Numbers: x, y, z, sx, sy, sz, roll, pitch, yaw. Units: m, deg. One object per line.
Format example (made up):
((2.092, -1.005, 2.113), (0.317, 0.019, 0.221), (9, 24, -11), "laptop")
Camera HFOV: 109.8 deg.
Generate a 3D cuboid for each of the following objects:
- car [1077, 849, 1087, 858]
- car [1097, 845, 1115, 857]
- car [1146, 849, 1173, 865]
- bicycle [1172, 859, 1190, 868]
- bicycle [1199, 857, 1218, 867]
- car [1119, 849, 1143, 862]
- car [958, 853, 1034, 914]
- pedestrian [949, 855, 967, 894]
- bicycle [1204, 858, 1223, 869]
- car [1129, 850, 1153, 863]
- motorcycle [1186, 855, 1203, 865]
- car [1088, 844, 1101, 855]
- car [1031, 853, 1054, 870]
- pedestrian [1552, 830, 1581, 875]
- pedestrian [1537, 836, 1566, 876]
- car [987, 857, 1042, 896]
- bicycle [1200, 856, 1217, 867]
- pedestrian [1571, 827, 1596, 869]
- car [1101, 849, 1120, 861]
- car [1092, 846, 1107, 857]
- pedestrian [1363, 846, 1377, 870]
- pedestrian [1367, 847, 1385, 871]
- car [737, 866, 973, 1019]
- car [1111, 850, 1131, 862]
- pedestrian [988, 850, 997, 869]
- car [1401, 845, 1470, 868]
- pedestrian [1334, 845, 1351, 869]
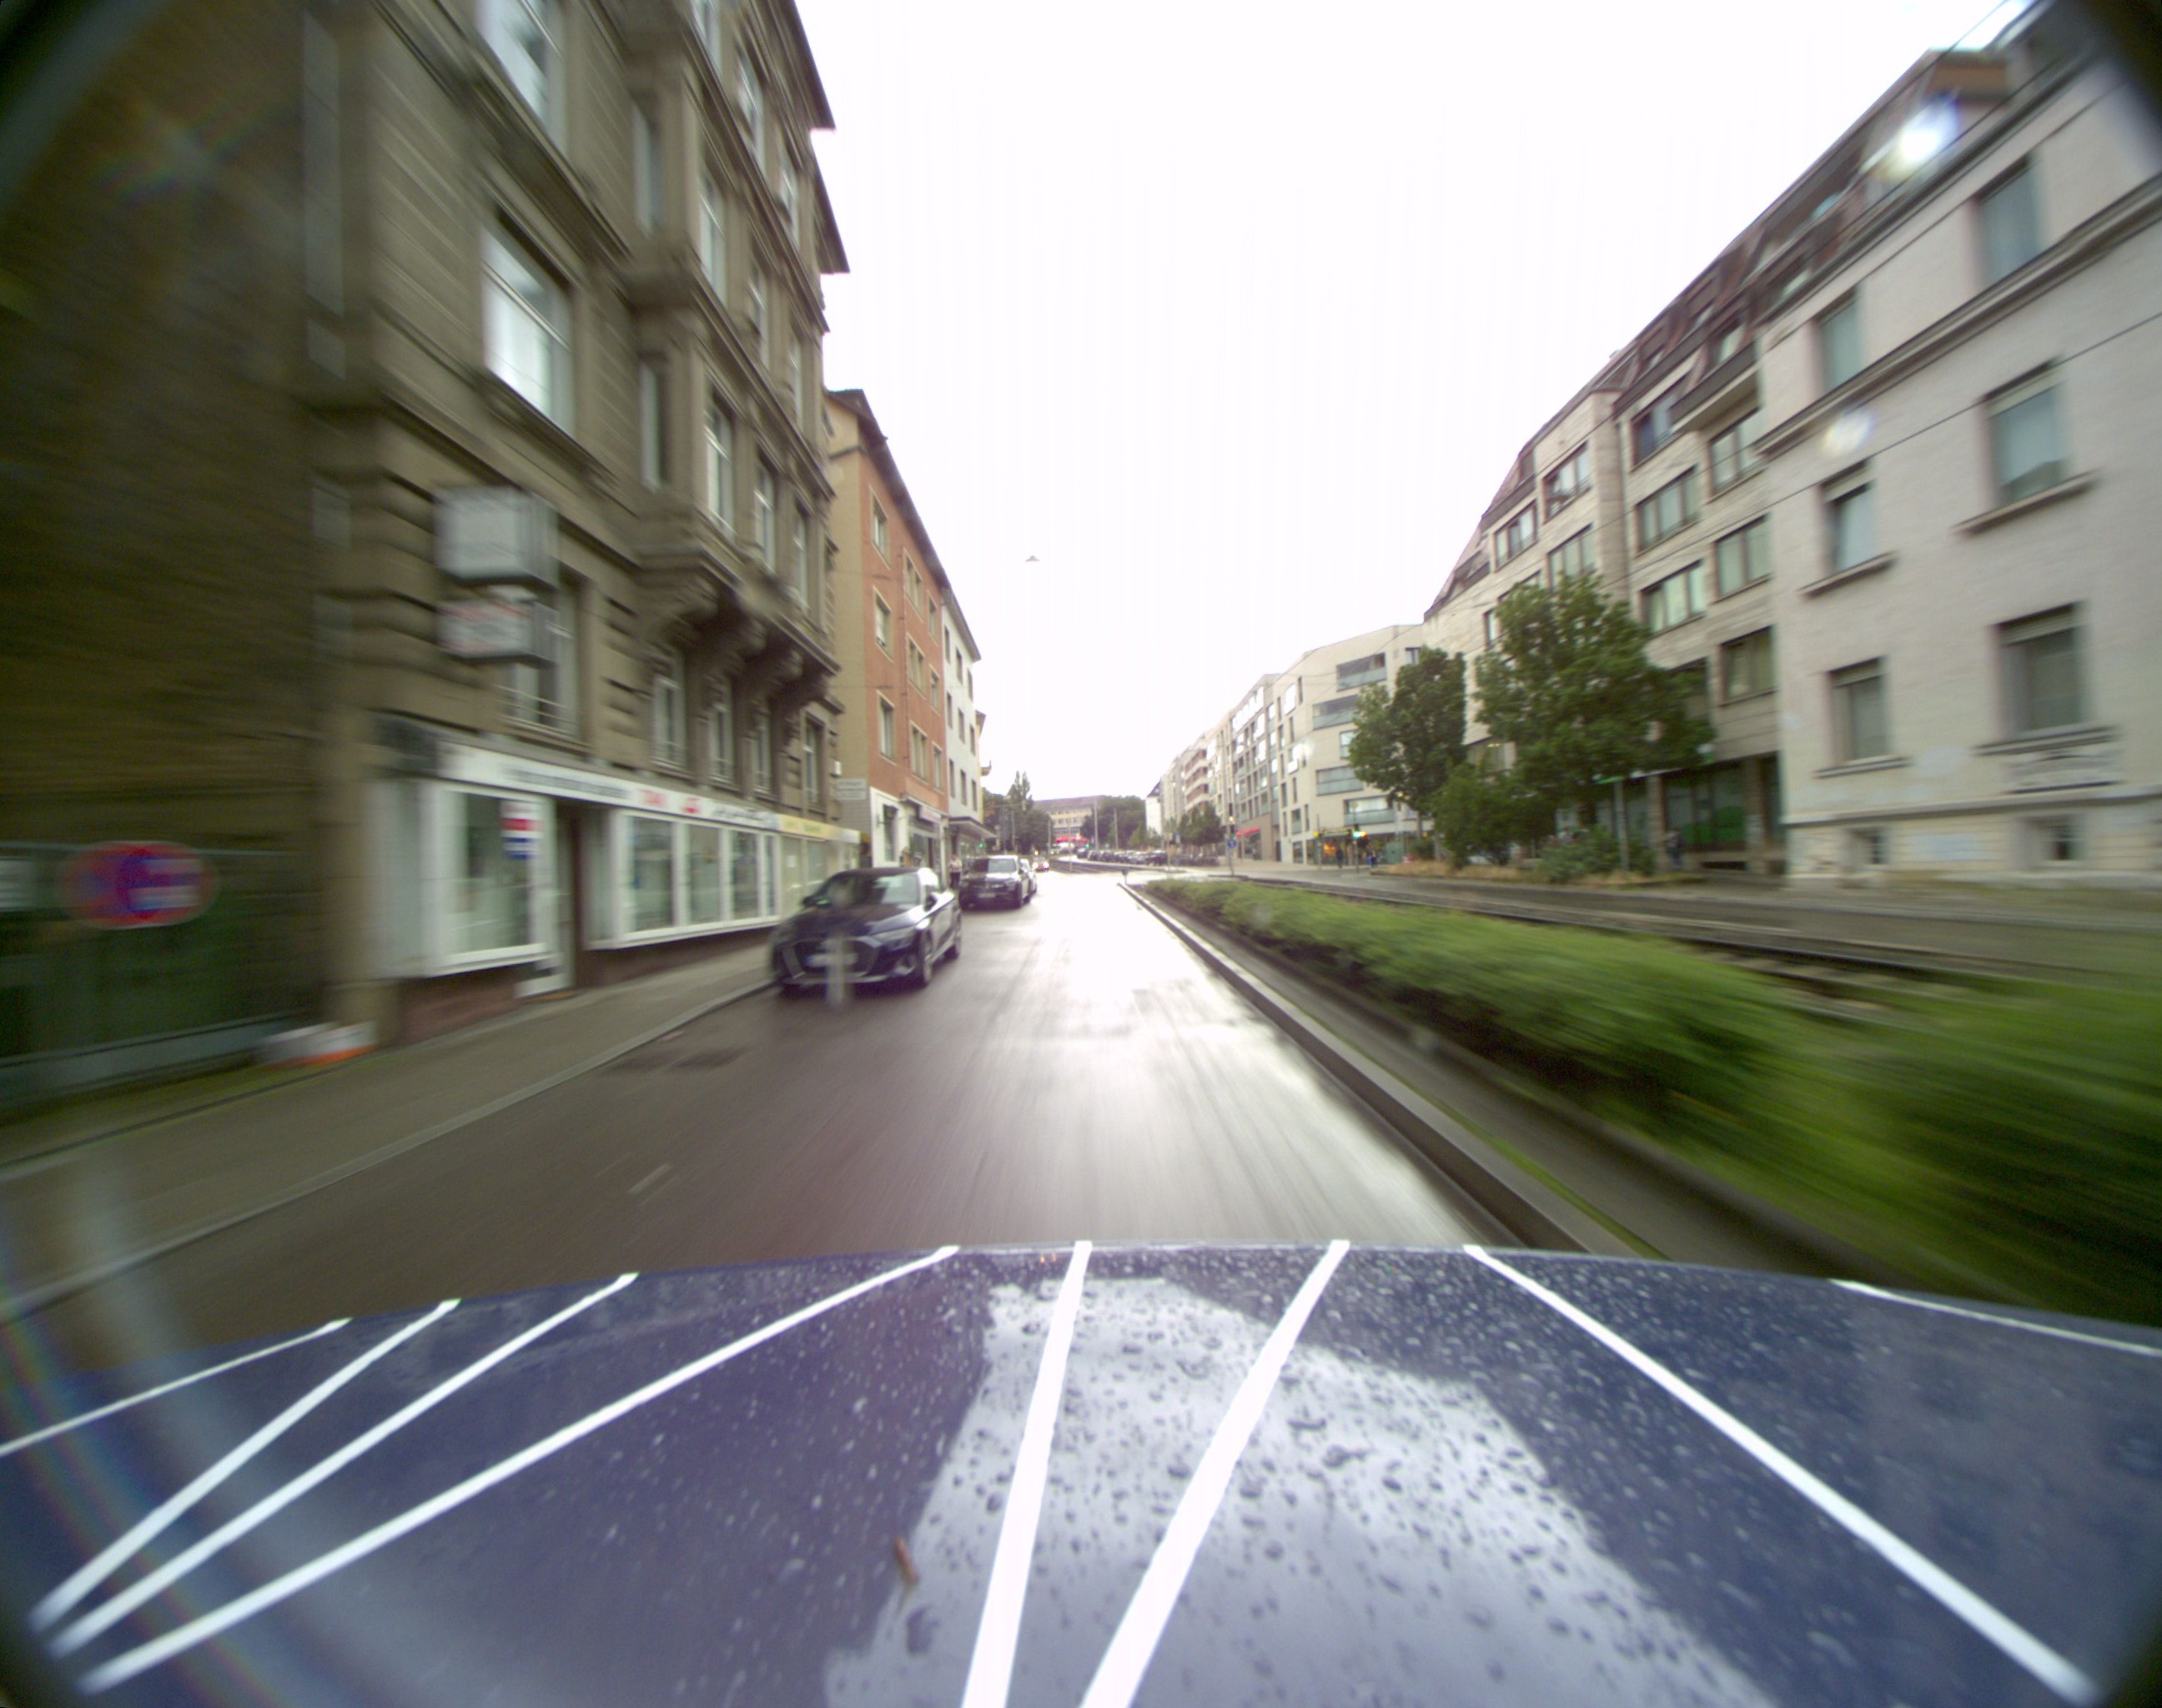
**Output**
((0.203, -0.124, 140.558), (1.655, 1.456, 3.668), (-5, 2, -2), "car")
((3.669, -0.455, 110.741), (1.686, 1.496, 3.924), (-4, 2, -11), "car")
((8.777, 0.305, 85.324), (1.686, 1.595, 4.324), (-4, 2, -11), "car")
((10.509, 0.975, 79.747), (1.790, 0.912, 0.387), (-3, 2, -14), "bicycle")
((12.595, 0.818, 75.173), (1.790, 0.871, 0.387), (-4, 2, -12), "bicycle")
((6.371, 0.193, 96.906), (1.686, 1.521, 4.044), (-4, 2, -15), "car")
((-2.632, 0.860, 24.548), (1.850, 1.623, 4.585), (-2, 1, 0), "car")
((-5.127, 0.849, 31.577), (0.690, 1.562, 0.762), (0, -2, -11), "pedestrian")
((12.899, 0.924, 74.017), (1.790, 0.975, 0.440), (-4, 2, -14), "bicycle")
((7.277, 0.312, 92.040), (1.686, 1.456, 4.324), (-4, 2, -11), "car")
((12.427, 0.686, 83.134), (1.765, 1.037, 0.542), (-2, 3, -14), "motorcycle")
((2.133, -0.753, 121.371), (1.651, 1.496, 3.778), (-4, 2, -5), "car")
((-3.852, 0.744, 75.563), (1.595, 1.456, 3.666), (-5, 2, -11), "car")
((19.477, -0.070, 30.471), (0.649, 1.715, 0.683), (-5, 2, -2), "pedestrian")
((18.810, 0.077, 30.399), (0.649, 1.540, 0.683), (-5, 2, -2), "pedestrian")
((-2.677, 0.875, 31.661), (1.806, 1.447, 4.586), (-1, 0, 0), "car")
((12.766, 0.760, 76.042), (1.791, 0.912, 0.386), (-4, 2, -29), "bicycle")
((19.623, -0.233, 29.670), (0.505, 1.589, 0.585), (-5, 2, -2), "pedestrian")
((4.139, 0.111, 106.512), (1.686, 1.555, 3.924), (-4, 2, -11), "car")
((2.850, -0.386, 115.596), (1.685, 1.496, 4.401), (-4, 2, -6), "car")
((21.494, 0.309, 56.505), (0.706, 1.701, 0.584), (-4, 2, -24), "pedestrian")
((19.665, 0.356, 50.649), (0.649, 1.560, 0.775), (-6, 3, -37), "pedestrian")
((-2.706, 0.981, 10.215), (1.796, 1.398, 4.256), (-3, 1, 0), "car")
((5.286, 0.286, 101.285), (1.686, 1.373, 4.028), (-4, 2, -11), "car")
((-8.220, 0.492, 70.503), (0.749, 1.754, 0.817), (1, 1, -11), "pedestrian")
((22.946, 0.162, 49.307), (3.703, 1.310, 1.593), (-3, 2, 1), "car")
((20.306, 0.259, 58.997), (0.933, 1.819, 0.958), (-2, 2, -8), "pedestrian")
